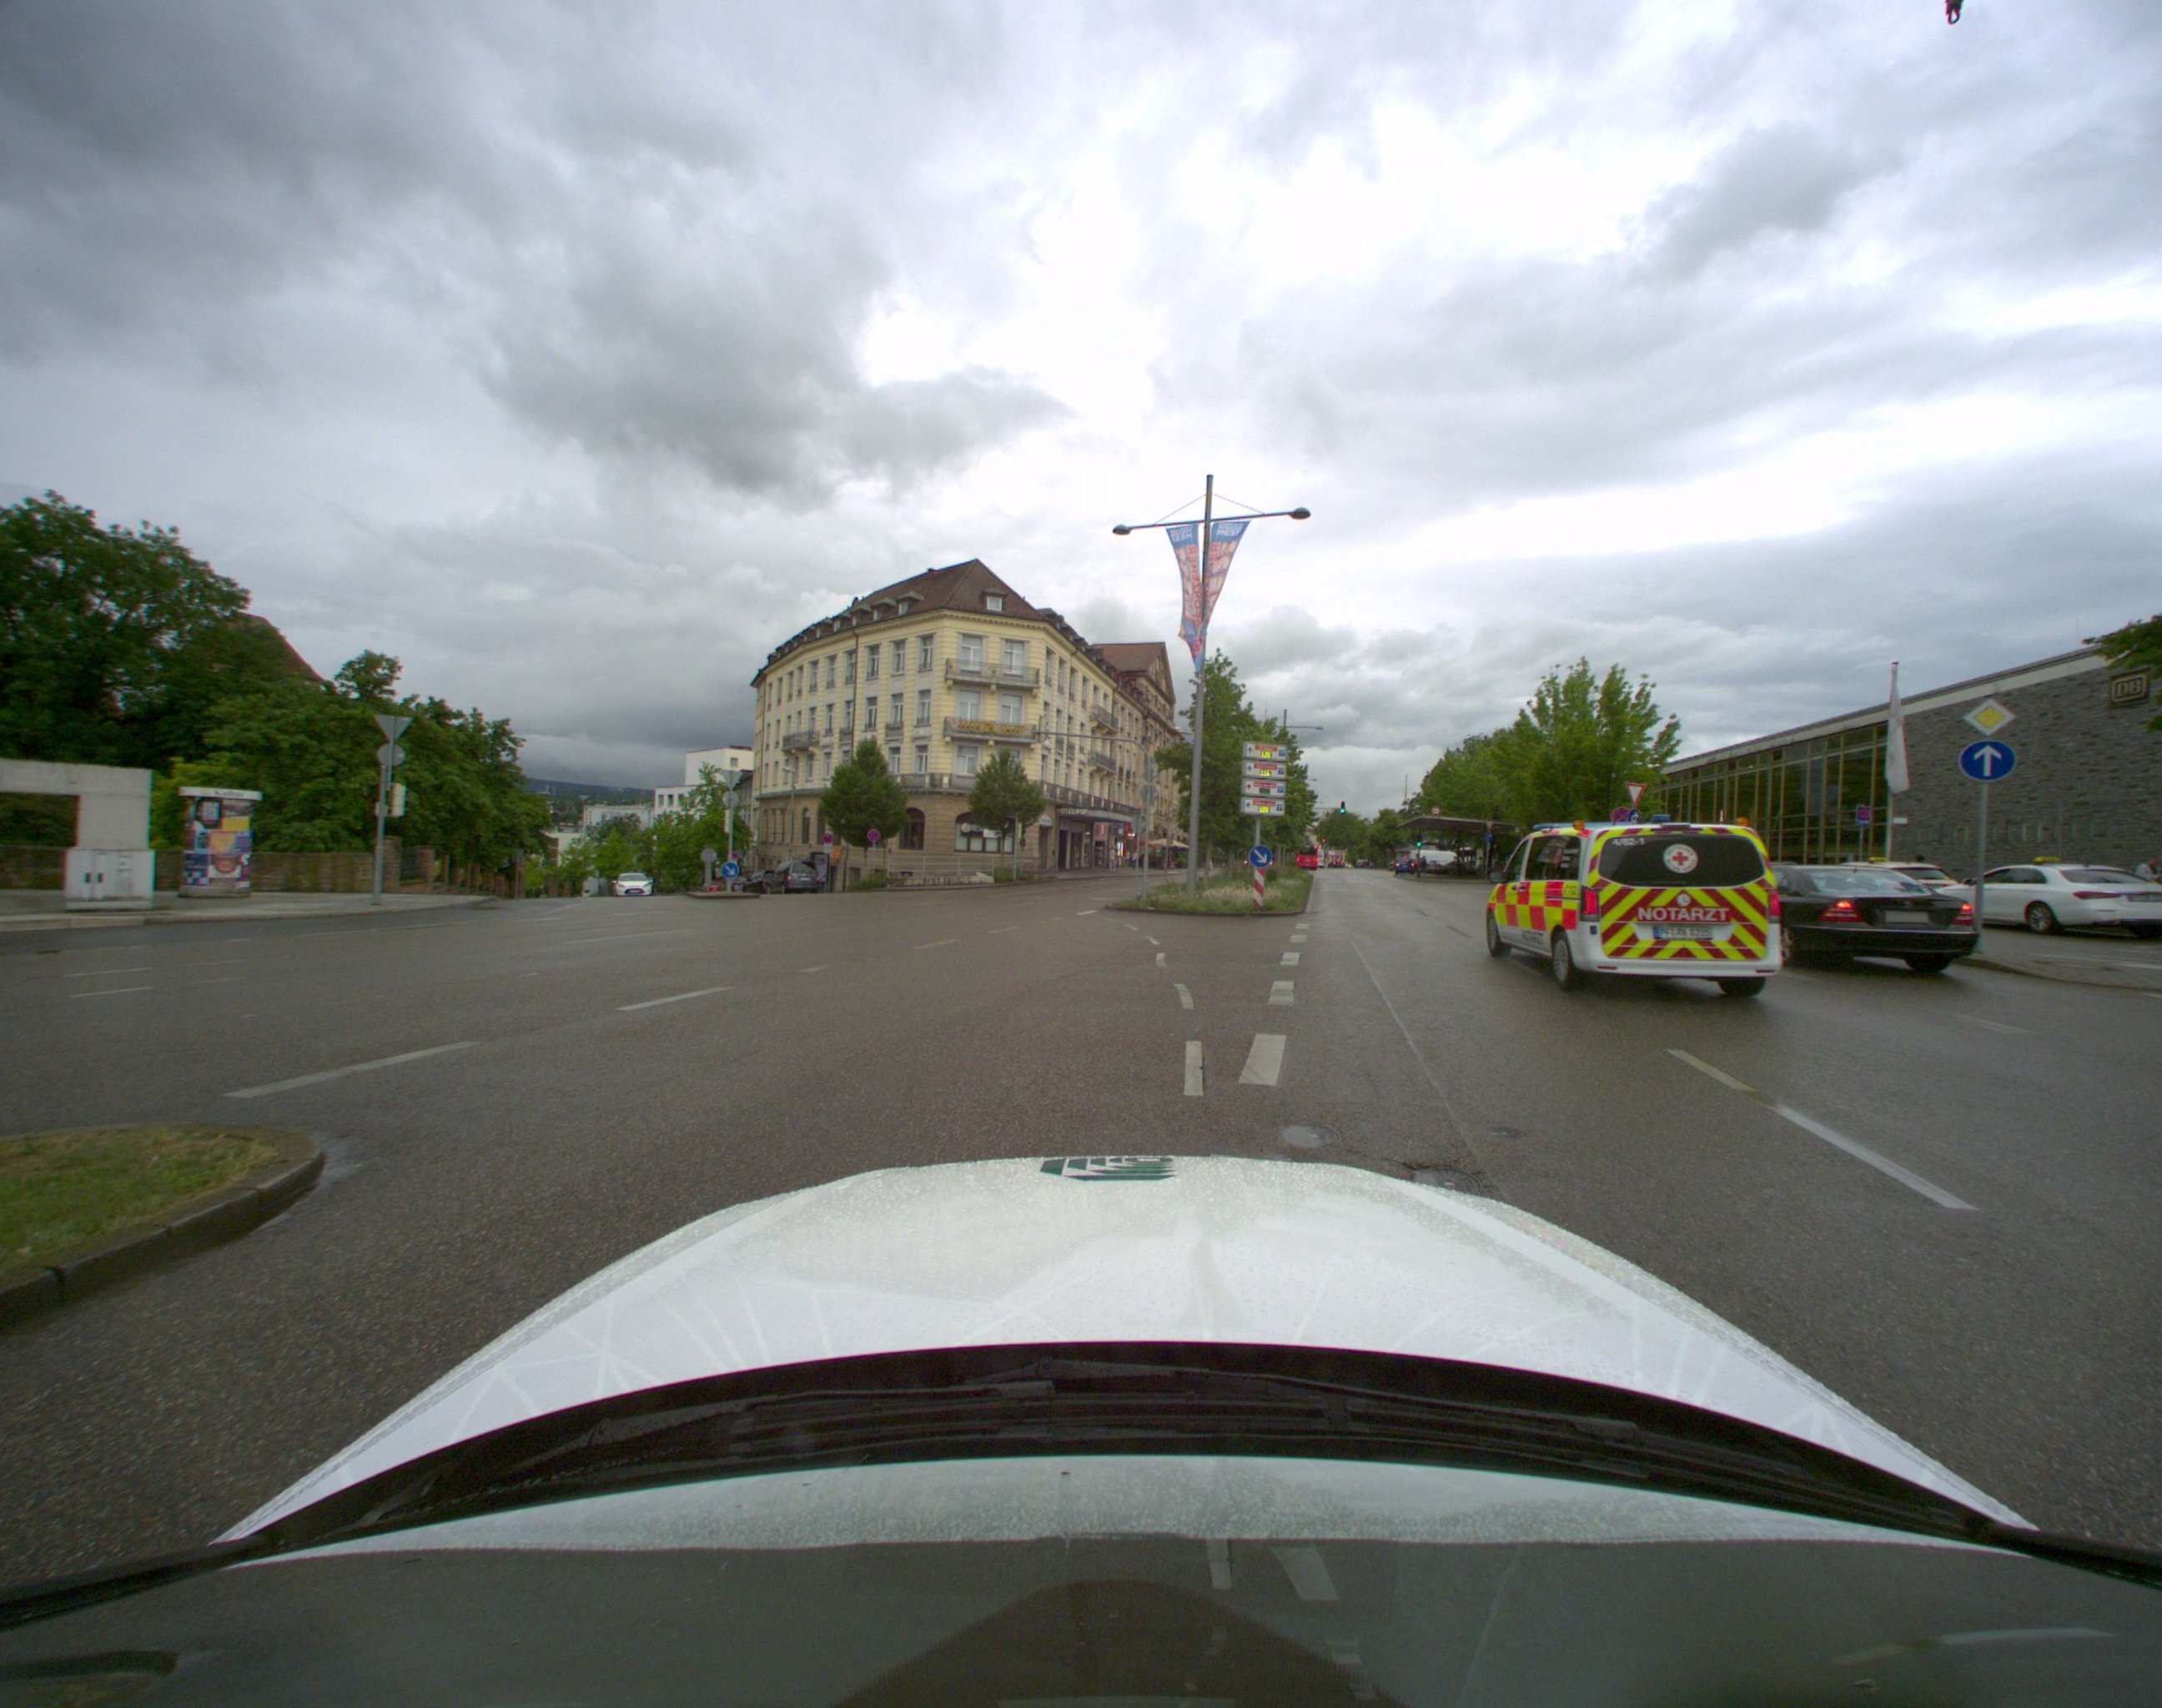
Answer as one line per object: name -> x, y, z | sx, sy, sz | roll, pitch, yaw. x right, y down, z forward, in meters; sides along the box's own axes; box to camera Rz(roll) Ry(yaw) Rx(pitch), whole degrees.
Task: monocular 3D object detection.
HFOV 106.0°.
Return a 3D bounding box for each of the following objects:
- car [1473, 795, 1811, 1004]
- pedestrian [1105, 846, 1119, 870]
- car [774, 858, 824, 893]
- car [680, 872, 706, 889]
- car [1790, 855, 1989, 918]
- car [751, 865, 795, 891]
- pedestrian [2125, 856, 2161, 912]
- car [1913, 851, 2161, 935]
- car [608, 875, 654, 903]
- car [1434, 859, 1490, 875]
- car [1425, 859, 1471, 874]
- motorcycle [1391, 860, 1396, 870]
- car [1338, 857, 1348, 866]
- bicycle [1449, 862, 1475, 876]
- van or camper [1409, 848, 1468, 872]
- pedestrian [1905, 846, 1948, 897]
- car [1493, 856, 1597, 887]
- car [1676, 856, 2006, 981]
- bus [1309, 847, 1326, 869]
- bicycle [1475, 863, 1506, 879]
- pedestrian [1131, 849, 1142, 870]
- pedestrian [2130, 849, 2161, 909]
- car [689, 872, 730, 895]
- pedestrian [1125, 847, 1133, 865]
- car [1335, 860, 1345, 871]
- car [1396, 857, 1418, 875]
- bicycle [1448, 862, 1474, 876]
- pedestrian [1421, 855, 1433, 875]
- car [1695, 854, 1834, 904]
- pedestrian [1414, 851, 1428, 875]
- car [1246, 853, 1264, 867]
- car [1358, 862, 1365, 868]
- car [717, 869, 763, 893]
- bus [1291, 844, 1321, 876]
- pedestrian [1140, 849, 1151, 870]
car -> 6.718, 0.471, 10.568 | 1.979, 2.014, 5.081 | 0, -1, 15
pedestrian -> 2.344, 0.288, 61.388 | 0.872, 1.813, 0.754 | 0, -1, 17
car -> -15.087, 1.106, 43.421 | 1.641, 1.759, 3.959 | 0, 0, -33
car -> -35.859, 2.392, 75.293 | 1.776, 1.478, 3.960 | 0, -1, -32
car -> 22.892, 0.831, 23.396 | 1.978, 1.599, 4.980 | 0, 0, 17
car -> -18.504, 1.423, 48.828 | 1.641, 1.398, 3.959 | 0, 0, -33
pedestrian -> 28.838, 0.799, 21.871 | 0.796, 1.477, 0.719 | 0, -1, -14
car -> 21.192, 0.765, 17.952 | 1.865, 1.599, 4.924 | 0, -1, 17
car -> -24.490, 1.867, 44.241 | 1.642, 1.398, 3.955 | 0, -1, -37
car -> 34.136, 1.181, 72.981 | 4.176, 1.325, 1.838 | 1, -1, -3
car -> 38.121, 1.310, 84.592 | 3.986, 1.443, 1.858 | 1, -1, -10
motorcycle -> 42.099, 1.508, 109.750 | 0.590, 1.288, 1.964 | 0, 0, 22
car -> 57.109, 1.578, 177.501 | 1.978, 2.014, 4.018 | 0, -1, 17
bicycle -> 29.451, 1.142, 63.021 | 1.822, 1.056, 0.420 | 0, -1, -2
van or camper -> 40.583, 0.675, 92.516 | 5.947, 2.763, 2.191 | 0, -1, -10
pedestrian -> 27.764, 0.565, 26.762 | 0.724, 1.626, 0.790 | 0, -1, -27
car -> 24.569, 0.912, 43.315 | 1.765, 1.546, 4.741 | 1, -1, -22
car -> 10.634, 0.787, 11.910 | 1.682, 1.466, 4.470 | 0, -1, 16
bus -> 42.095, 0.698, 145.339 | 2.784, 3.747, 10.487 | -1, -1, 15
bicycle -> 27.439, 1.121, 54.560 | 1.813, 1.056, 0.422 | 0, -1, 16
pedestrian -> 4.460, 0.450, 65.730 | 0.676, 1.664, 0.811 | -1, -1, 20
pedestrian -> 28.835, 0.660, 21.773 | 0.769, 1.580, 0.707 | 0, -1, -14
car -> -26.160, 2.038, 57.325 | 1.778, 1.478, 3.964 | 0, -1, -38
pedestrian -> 4.327, 0.175, 73.830 | 0.663, 1.664, 0.538 | 0, -1, 8
car -> 51.794, 2.282, 162.973 | 1.978, 2.014, 4.018 | 0, -1, 17
car -> 30.896, 1.142, 77.215 | 1.843, 1.569, 4.020 | 1, -1, 21
bicycle -> 29.629, 1.147, 63.487 | 1.822, 1.056, 0.420 | 0, -1, -2
pedestrian -> 31.154, 0.994, 73.338 | 0.850, 1.835, 1.195 | 0, -1, 17
car -> 24.586, 0.840, 29.543 | 1.979, 1.599, 4.979 | 1, 0, 16
pedestrian -> 24.935, 0.691, 59.756 | 0.742, 1.747, 0.838 | 0, -1, 9
car -> 24.618, 0.858, 115.066 | 1.977, 2.014, 5.024 | 0, -1, 18
car -> 75.296, 2.905, 218.644 | 1.582, 1.561, 3.666 | 0, -1, 17
car -> -22.098, 1.723, 52.730 | 1.778, 1.478, 3.955 | 0, -1, -38
bus -> 29.397, 0.827, 106.364 | 3.518, 3.980, 11.217 | 0, -1, 16
pedestrian -> 5.205, 0.472, 65.449 | 0.676, 1.664, 0.810 | 0, -1, 17
